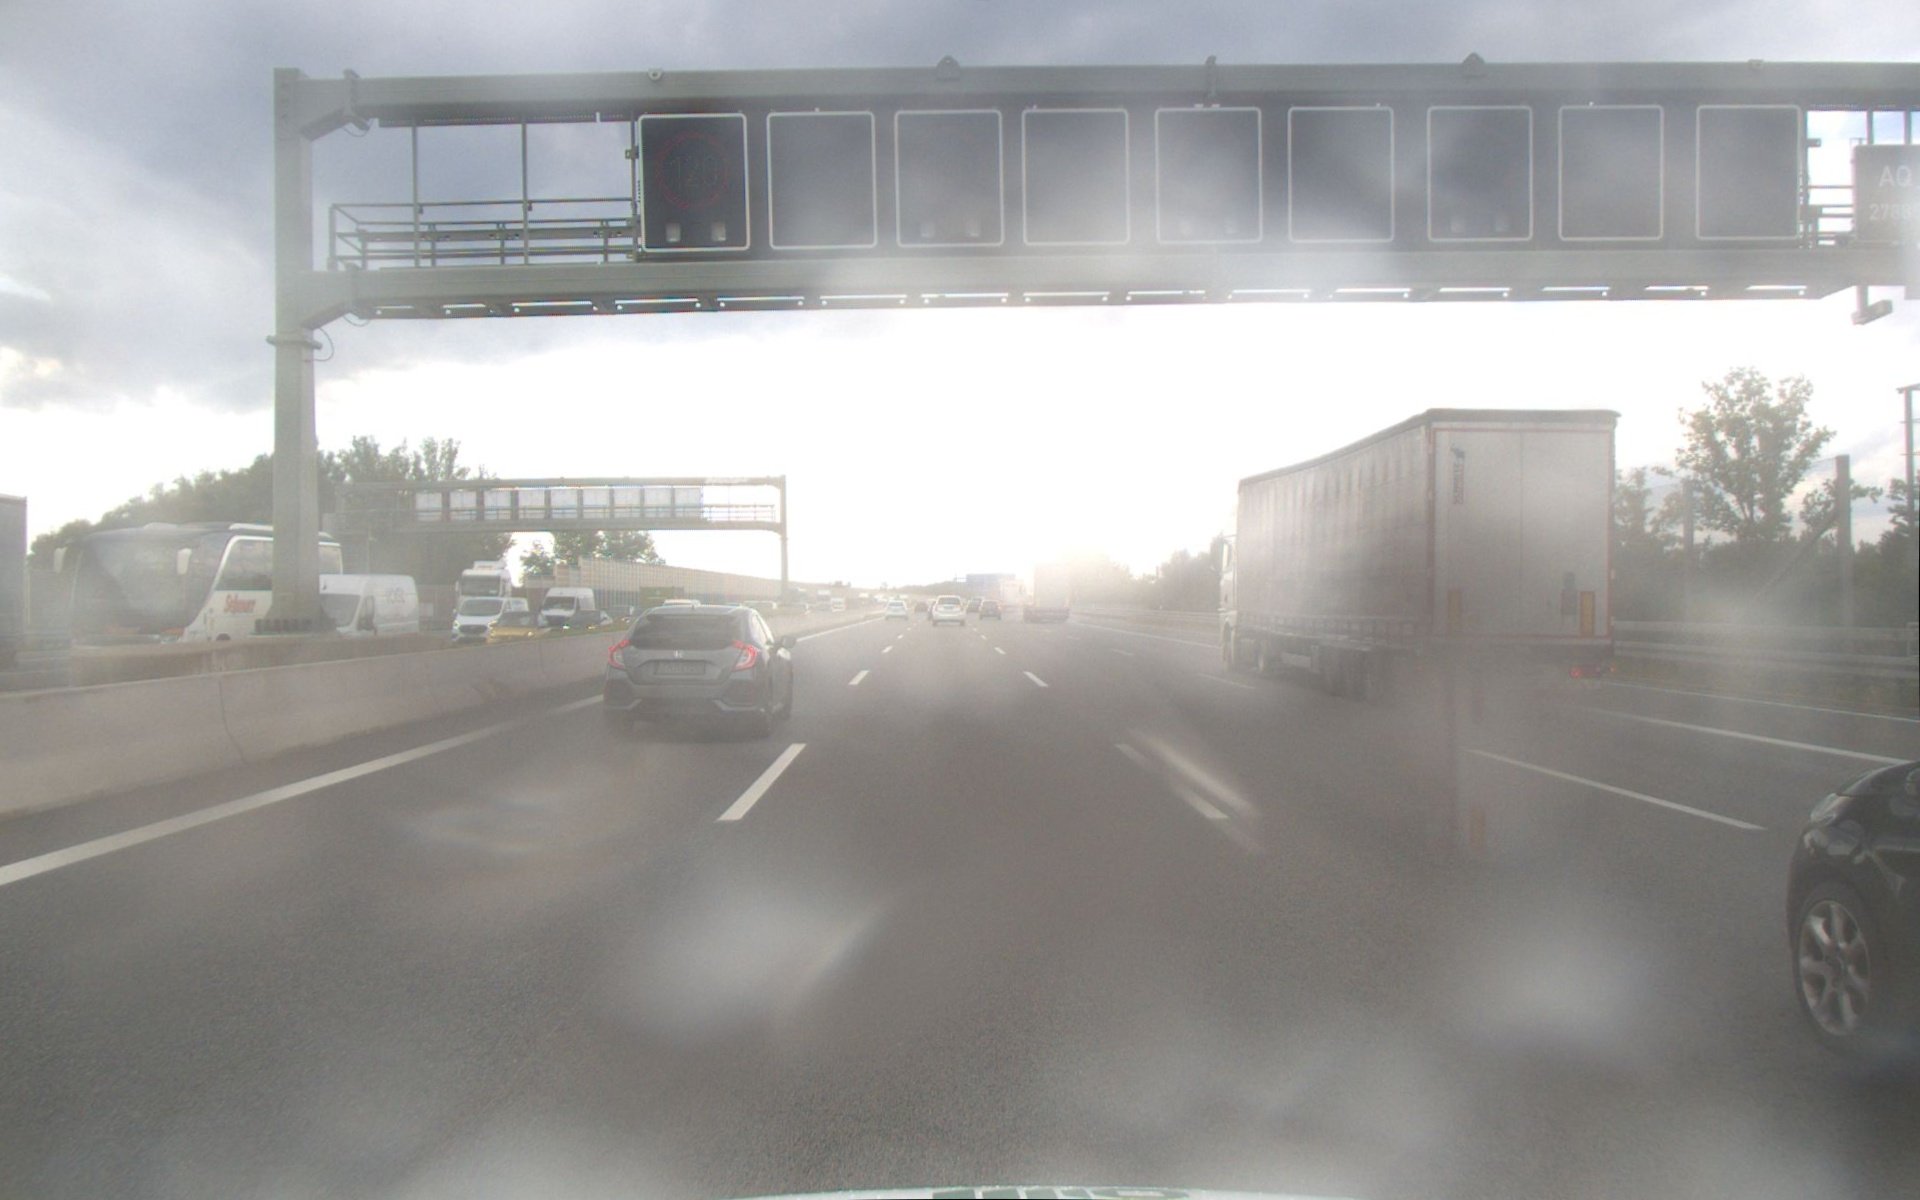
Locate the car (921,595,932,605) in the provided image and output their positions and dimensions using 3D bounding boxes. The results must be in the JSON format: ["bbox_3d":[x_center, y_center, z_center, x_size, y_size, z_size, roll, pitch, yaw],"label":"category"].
[{"bbox_3d":[-5.286,-0.035,260.048,1.736,1.466,4.054,0,0,-1],"label":"car"}]

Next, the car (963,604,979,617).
[{"bbox_3d":[1.303,1.168,193.340,1.798,1.466,4.054,0,0,-1],"label":"car"}]

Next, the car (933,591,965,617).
[{"bbox_3d":[-0.684,0.233,98.265,1.737,1.466,4.053,0,0,-3],"label":"car"}]

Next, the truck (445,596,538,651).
[{"bbox_3d":[-18.229,0.903,64.633,2.198,2.035,5.543,-1,0,-2],"label":"truck"}]

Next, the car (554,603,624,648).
[{"bbox_3d":[-18.300,1.237,81.803,2.198,2.151,5.540,-1,0,0],"label":"car"}]

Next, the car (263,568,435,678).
[{"bbox_3d":[-14.299,0.498,39.144,2.093,2.393,5.708,1,0,-2],"label":"car"}]

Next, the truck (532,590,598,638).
[{"bbox_3d":[-22.338,0.781,93.865,2.198,2.649,6.558,-1,0,0],"label":"truck"}]

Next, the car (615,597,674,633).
[{"bbox_3d":[-19.110,0.857,100.376,2.399,2.087,6.193,-1,0,0],"label":"car"}]

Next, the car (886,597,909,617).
[{"bbox_3d":[-4.768,0.553,126.173,1.737,1.466,3.872,0,0,-3],"label":"car"}]

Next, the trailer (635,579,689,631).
[{"bbox_3d":[-19.139,0.302,106.522,2.399,3.193,6.050,0,0,0],"label":"trailer"}]

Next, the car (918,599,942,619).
[{"bbox_3d":[-2.328,0.646,126.667,1.737,1.466,4.053,0,0,-3],"label":"car"}]

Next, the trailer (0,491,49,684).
[{"bbox_3d":[-21.358,-0.266,29.243,2.827,4.031,14.295,1,0,-1],"label":"trailer"}]

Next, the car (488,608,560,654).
[{"bbox_3d":[-14.275,0.994,54.317,1.581,1.412,3.327,0,0,-2],"label":"car"}]

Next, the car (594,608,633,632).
[{"bbox_3d":[-22.798,1.319,108.860,1.779,1.521,3.899,-1,0,0],"label":"car"}]

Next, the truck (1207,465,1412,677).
[{"bbox_3d":[7.285,-0.576,35.395,2.901,4.090,6.587,0,0,-1],"label":"truck"}]

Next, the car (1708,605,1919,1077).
[{"bbox_3d":[3.716,0.759,4.989,1.418,1.466,3.162,0,0,-2],"label":"car"}]

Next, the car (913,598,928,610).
[{"bbox_3d":[-4.905,0.539,206.430,1.737,1.466,4.053,0,0,-3],"label":"car"}]

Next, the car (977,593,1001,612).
[{"bbox_3d":[2.344,0.211,135.191,1.798,1.466,4.054,0,0,-1],"label":"car"}]

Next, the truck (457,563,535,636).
[{"bbox_3d":[-26.008,-0.044,92.949,2.696,3.955,6.050,0,0,0],"label":"truck"}]

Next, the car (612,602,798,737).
[{"bbox_3d":[-2.972,0.744,20.213,1.725,1.393,5.057,0,0,-3],"label":"car"}]

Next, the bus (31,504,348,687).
[{"bbox_3d":[-17.838,-0.078,39.383,2.600,3.744,10.633,-1,0,0],"label":"bus"}]

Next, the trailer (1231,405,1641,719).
[{"bbox_3d":[7.403,-0.546,28.746,2.901,4.090,14.116,0,0,-1],"label":"trailer"}]

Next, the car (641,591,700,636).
[{"bbox_3d":[-15.213,0.684,87.168,2.184,2.276,5.512,-1,0,0],"label":"car"}]

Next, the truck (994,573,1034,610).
[{"bbox_3d":[6.417,-1.019,198.808,4.158,4.249,11.986,1,0,-1],"label":"truck"}]

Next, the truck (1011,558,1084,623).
[{"bbox_3d":[6.122,-0.653,118.533,4.096,4.363,12.608,1,0,-2],"label":"truck"}]
